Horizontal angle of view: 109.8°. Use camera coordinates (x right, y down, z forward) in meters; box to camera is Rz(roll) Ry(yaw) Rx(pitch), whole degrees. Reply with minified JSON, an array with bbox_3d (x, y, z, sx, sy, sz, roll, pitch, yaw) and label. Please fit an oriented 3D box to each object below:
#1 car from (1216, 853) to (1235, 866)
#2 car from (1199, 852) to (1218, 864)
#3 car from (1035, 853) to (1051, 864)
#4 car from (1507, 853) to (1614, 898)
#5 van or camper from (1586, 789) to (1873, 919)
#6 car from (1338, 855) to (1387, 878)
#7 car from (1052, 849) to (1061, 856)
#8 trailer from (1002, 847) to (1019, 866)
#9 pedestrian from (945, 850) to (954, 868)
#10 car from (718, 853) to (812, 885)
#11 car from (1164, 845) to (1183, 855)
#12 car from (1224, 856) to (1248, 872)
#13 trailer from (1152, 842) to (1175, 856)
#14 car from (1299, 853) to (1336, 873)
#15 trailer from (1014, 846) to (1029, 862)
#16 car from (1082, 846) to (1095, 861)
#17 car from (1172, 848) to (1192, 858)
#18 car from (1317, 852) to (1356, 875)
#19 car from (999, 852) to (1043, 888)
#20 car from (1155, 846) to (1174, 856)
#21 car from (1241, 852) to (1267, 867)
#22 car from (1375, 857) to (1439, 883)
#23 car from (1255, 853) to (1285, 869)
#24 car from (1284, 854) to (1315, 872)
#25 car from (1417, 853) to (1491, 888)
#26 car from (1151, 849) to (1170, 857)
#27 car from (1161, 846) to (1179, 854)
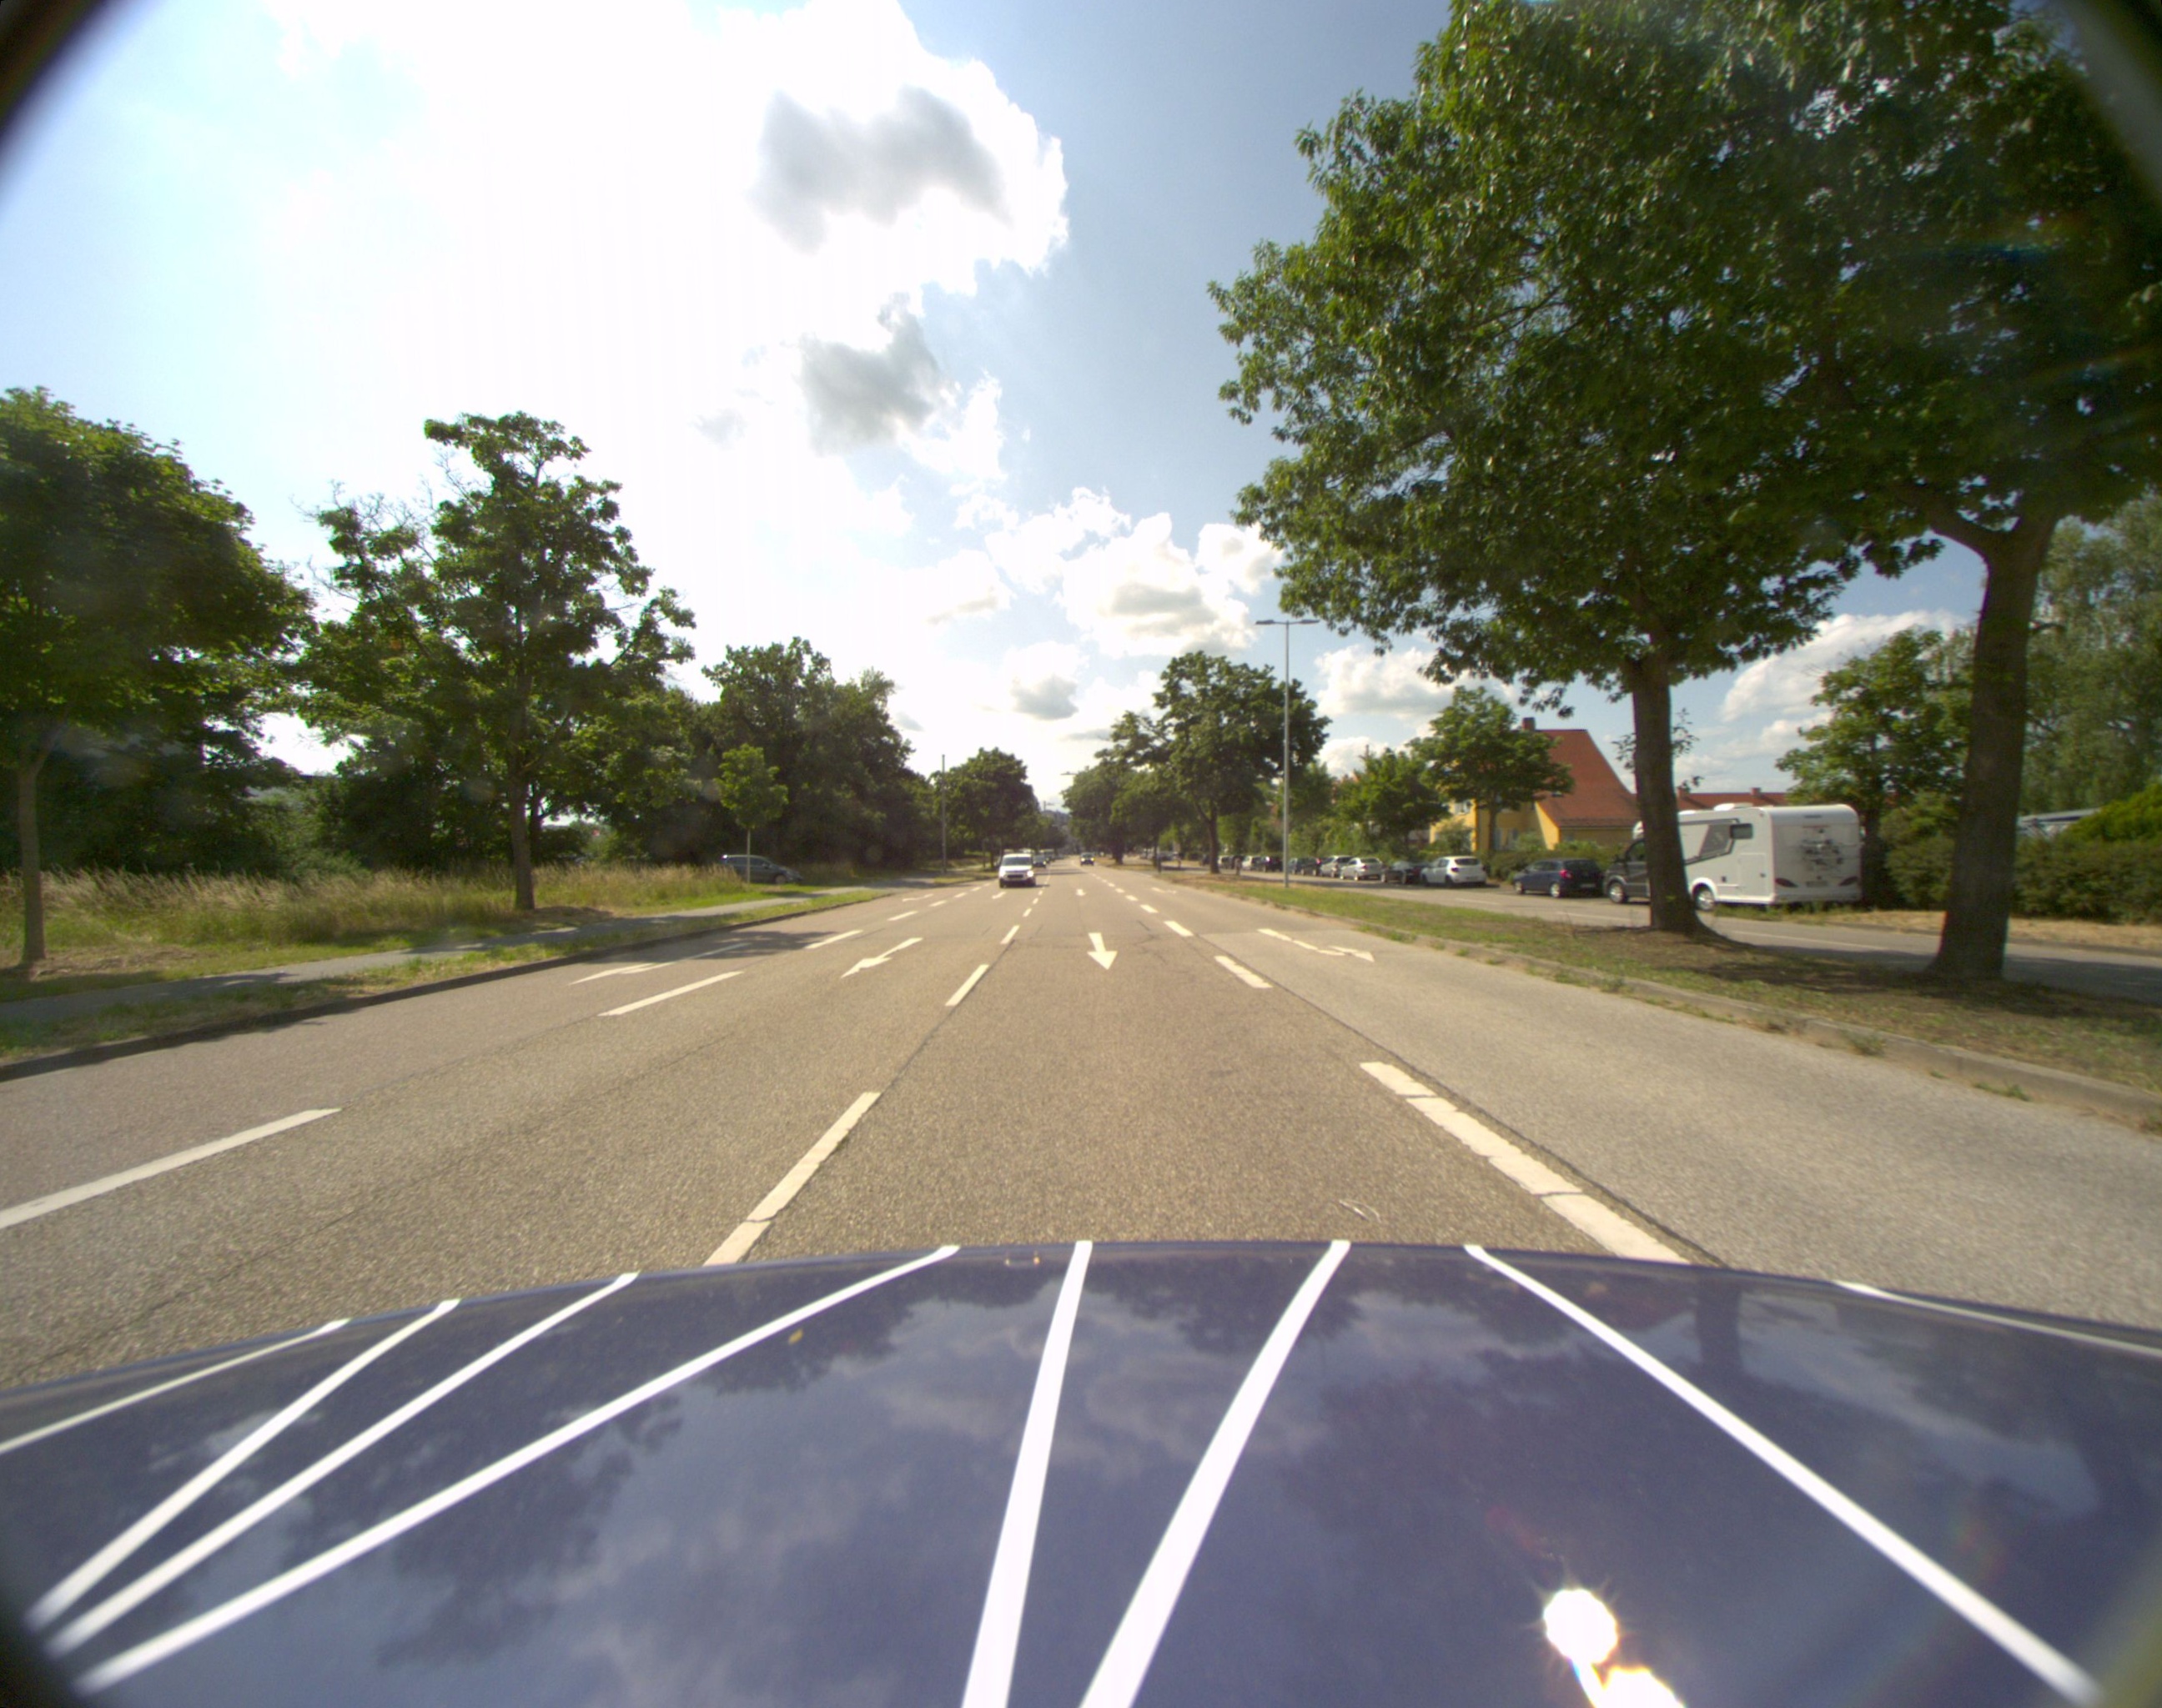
[{"bbox_3d":[17.830,0.680,93.861,1.598,1.453,3.534,-2,1,-2],"label":"car"},{"bbox_3d":[17.463,0.568,104.523,1.772,1.543,3.998,-2,1,-2],"label":"car"},{"bbox_3d":[-4.709,0.534,94.069,1.892,1.281,3.998,-2,1,-2],"label":"car"},{"bbox_3d":[18.348,0.774,29.309,1.640,1.477,3.992,-2,1,1],"label":"car"},{"bbox_3d":[18.329,0.007,22.276,2.264,3.094,7.321,-2,0,2],"label":"van or camper"},{"bbox_3d":[18.280,0.778,49.578,1.514,1.362,4.531,-2,0,1],"label":"car"},{"bbox_3d":[-5.197,-0.301,159.852,1.892,1.281,3.998,-2,1,-2],"label":"car"},{"bbox_3d":[-9.027,0.298,97.129,1.958,2.338,4.604,1,1,-3],"label":"trailer"},{"bbox_3d":[-12.940,0.468,74.934,0.719,1.784,0.739,-3,2,-2],"label":"pedestrian"},{"bbox_3d":[-16.614,0.815,40.059,4.175,1.484,1.784,2,-1,-5],"label":"car"},{"bbox_3d":[19.122,-0.846,157.136,4.007,2.002,1.800,-4,2,-44],"label":"car"},{"bbox_3d":[17.840,1.141,87.658,1.665,1.603,4.313,-3,1,-2],"label":"car"},{"bbox_3d":[19.764,-1.263,182.513,2.820,3.090,5.764,-2,0,37],"label":"trailer"},{"bbox_3d":[18.362,0.687,59.156,1.406,1.387,4.356,-2,0,-1],"label":"car"},{"bbox_3d":[-9.214,-0.011,117.949,1.999,2.352,4.780,4,1,-1],"label":"trailer"},{"bbox_3d":[1.051,-0.141,104.995,1.768,1.893,4.540,-2,1,1],"label":"car"},{"bbox_3d":[19.600,-0.268,147.278,4.008,1.849,1.800,-2,0,-44],"label":"car"},{"bbox_3d":[18.383,0.652,54.778,1.406,1.548,3.741,-2,1,-1],"label":"car"},{"bbox_3d":[-3.205,0.806,41.361,1.935,1.774,4.715,-2,0,0],"label":"car"},{"bbox_3d":[18.217,-0.727,165.611,4.007,2.002,1.800,-4,2,-44],"label":"car"},{"bbox_3d":[18.178,0.521,79.964,1.665,1.443,3.845,-2,1,-2],"label":"car"},{"bbox_3d":[18.317,0.857,42.894,1.640,1.298,4.584,-2,0,1],"label":"car"},{"bbox_3d":[18.069,0.664,72.860,1.665,1.473,4.102,-3,0,-2],"label":"car"},{"bbox_3d":[18.490,0.742,64.405,1.566,1.387,3.476,-2,1,-1],"label":"car"},{"bbox_3d":[18.491,0.777,37.868,1.693,1.477,4.123,-2,1,1],"label":"car"},{"bbox_3d":[17.753,-0.210,170.470,3.997,1.502,1.799,-2,1,0],"label":"car"},{"bbox_3d":[19.057,-0.876,163.034,4.007,1.390,1.569,-3,2,-44],"label":"car"}]
